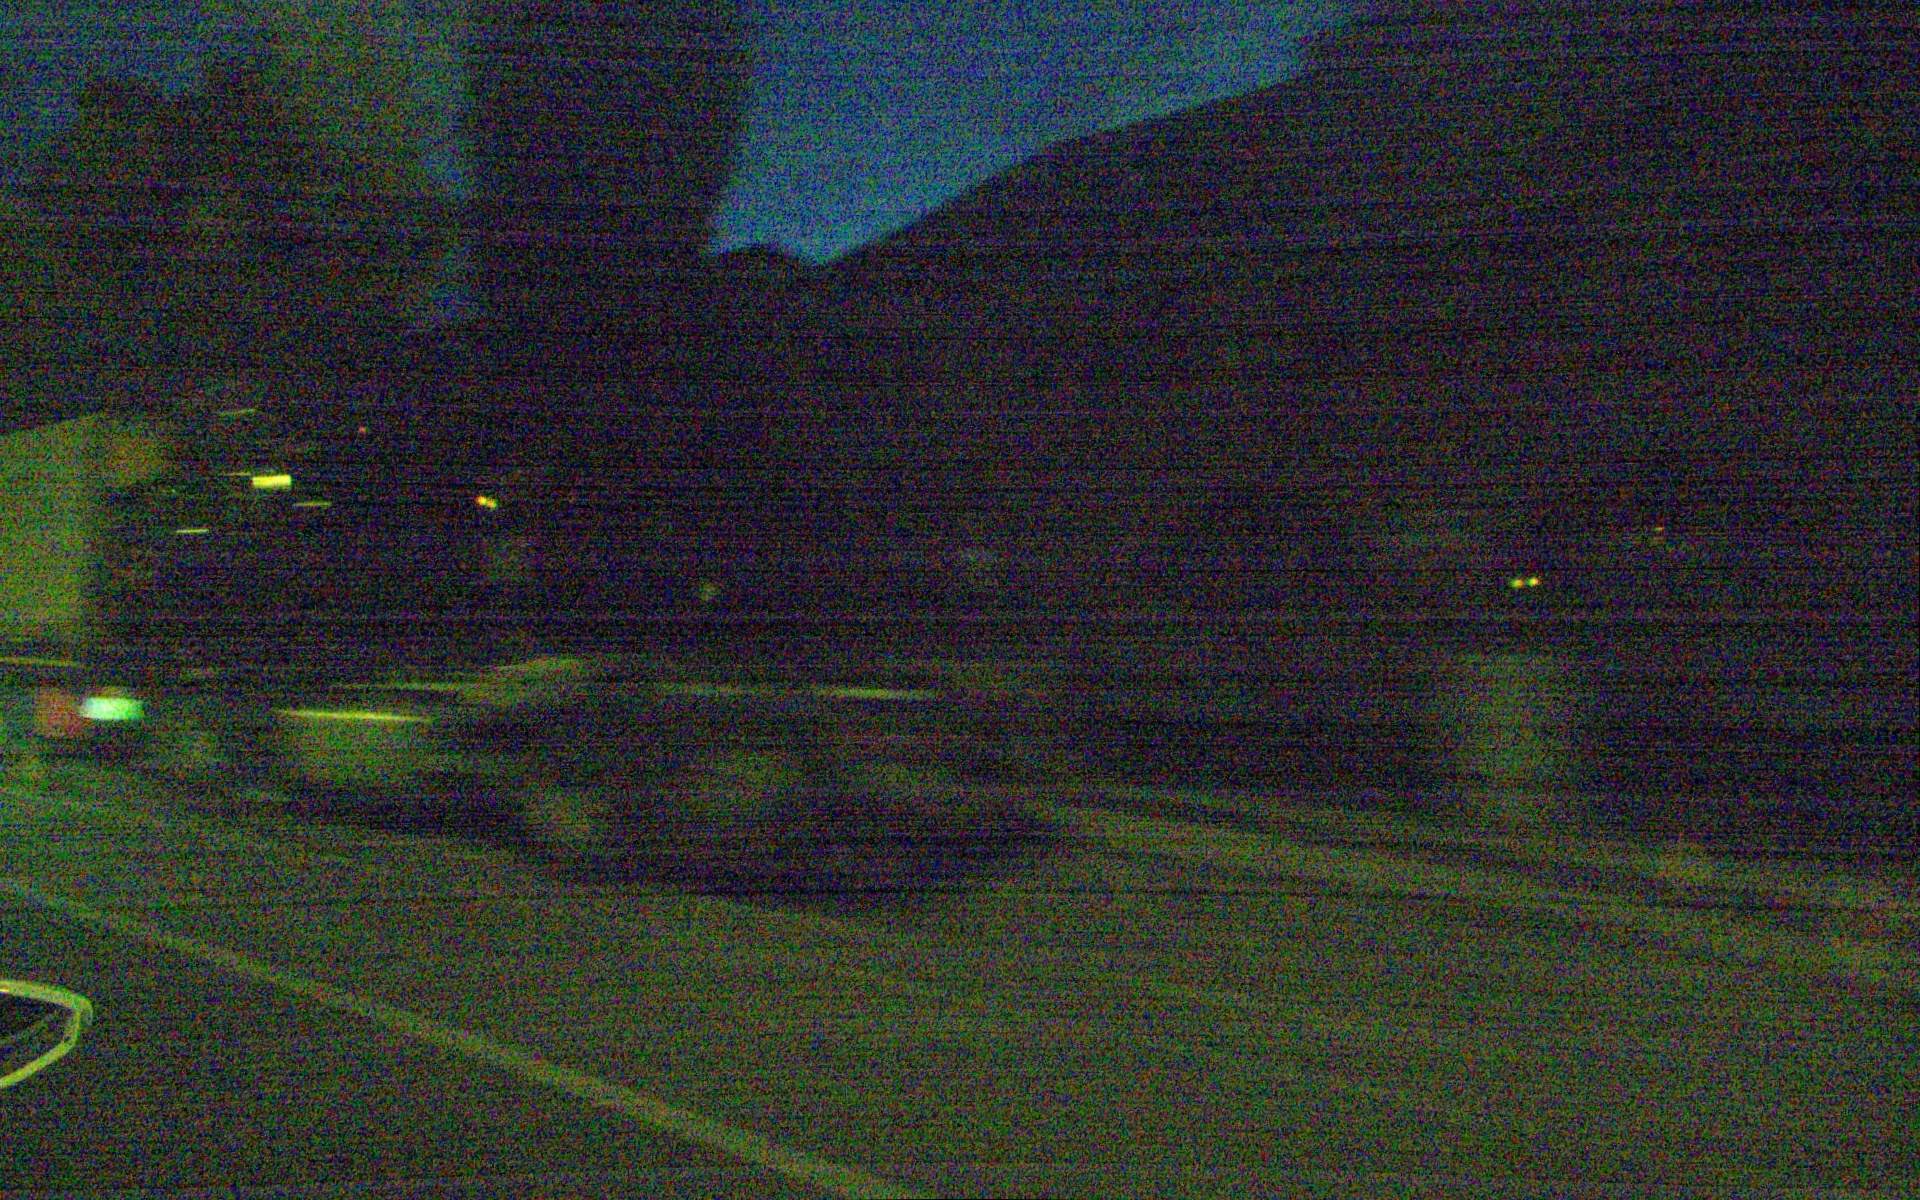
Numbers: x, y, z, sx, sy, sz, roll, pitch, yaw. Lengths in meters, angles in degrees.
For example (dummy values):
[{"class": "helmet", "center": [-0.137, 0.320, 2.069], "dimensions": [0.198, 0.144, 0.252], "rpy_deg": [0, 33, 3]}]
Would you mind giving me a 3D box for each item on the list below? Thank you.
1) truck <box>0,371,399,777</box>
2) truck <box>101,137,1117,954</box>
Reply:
[{"class": "truck", "center": [-11.665, -0.159, 13.205], "dimensions": [10.073, 3.832, 2.752], "rpy_deg": [-1, -1, 30]}, {"class": "truck", "center": [-3.441, -0.177, 8.200], "dimensions": [9.002, 3.832, 2.751], "rpy_deg": [-1, -1, 31]}]
